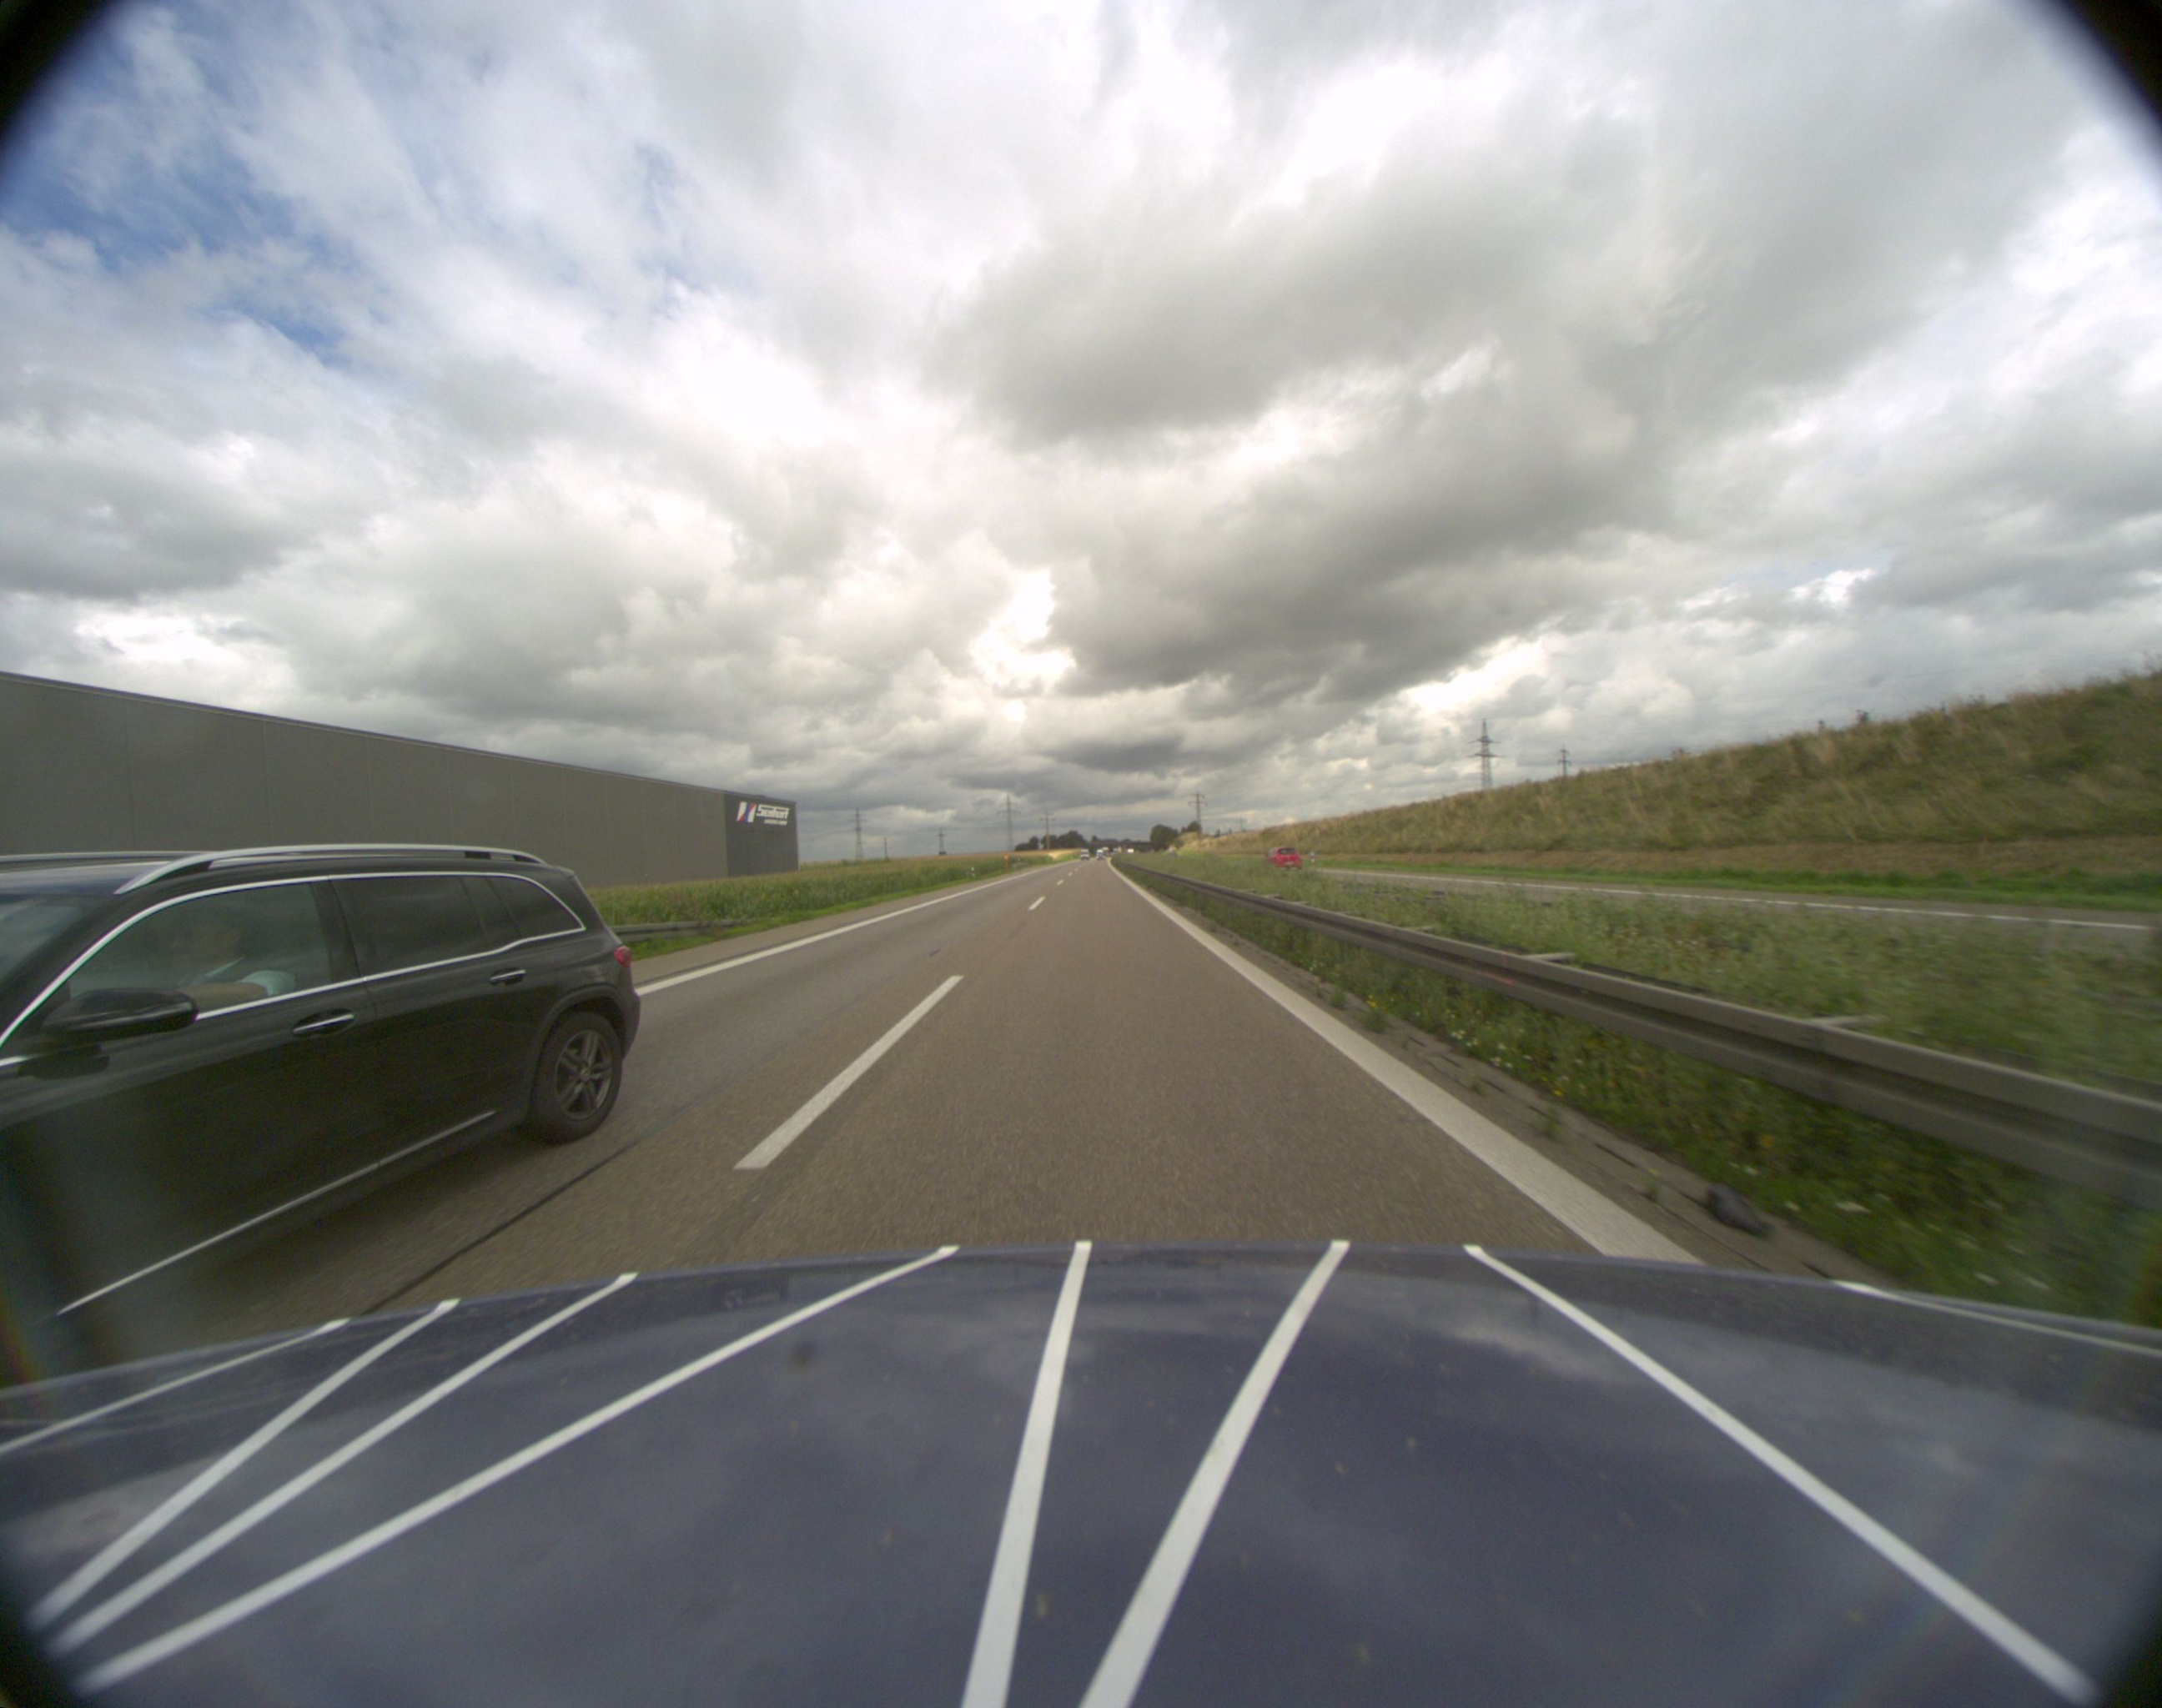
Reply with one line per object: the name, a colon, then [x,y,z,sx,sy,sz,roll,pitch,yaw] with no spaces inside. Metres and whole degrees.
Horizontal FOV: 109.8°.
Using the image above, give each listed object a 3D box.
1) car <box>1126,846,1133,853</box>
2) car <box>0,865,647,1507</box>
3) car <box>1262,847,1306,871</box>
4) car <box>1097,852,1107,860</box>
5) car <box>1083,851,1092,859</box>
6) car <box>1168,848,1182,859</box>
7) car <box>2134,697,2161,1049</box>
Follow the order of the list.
car: [16.191,-1.439,252.324,2.129,2.254,5.453,-2,1,2]
car: [-3.751,0.924,2.659,1.838,1.600,4.360,-2,1,1]
car: [12.902,0.277,48.493,1.728,1.395,4.342,-2,1,1]
car: [4.696,0.537,171.436,1.998,1.695,4.664,-4,-1,4]
car: [1.619,0.183,184.461,1.998,1.812,4.342,-2,0,3]
car: [15.394,-0.120,124.191,1.821,1.692,4.000,-2,1,2]
car: [8.147,0.123,2.220,1.998,2.334,5.870,-2,1,0]
